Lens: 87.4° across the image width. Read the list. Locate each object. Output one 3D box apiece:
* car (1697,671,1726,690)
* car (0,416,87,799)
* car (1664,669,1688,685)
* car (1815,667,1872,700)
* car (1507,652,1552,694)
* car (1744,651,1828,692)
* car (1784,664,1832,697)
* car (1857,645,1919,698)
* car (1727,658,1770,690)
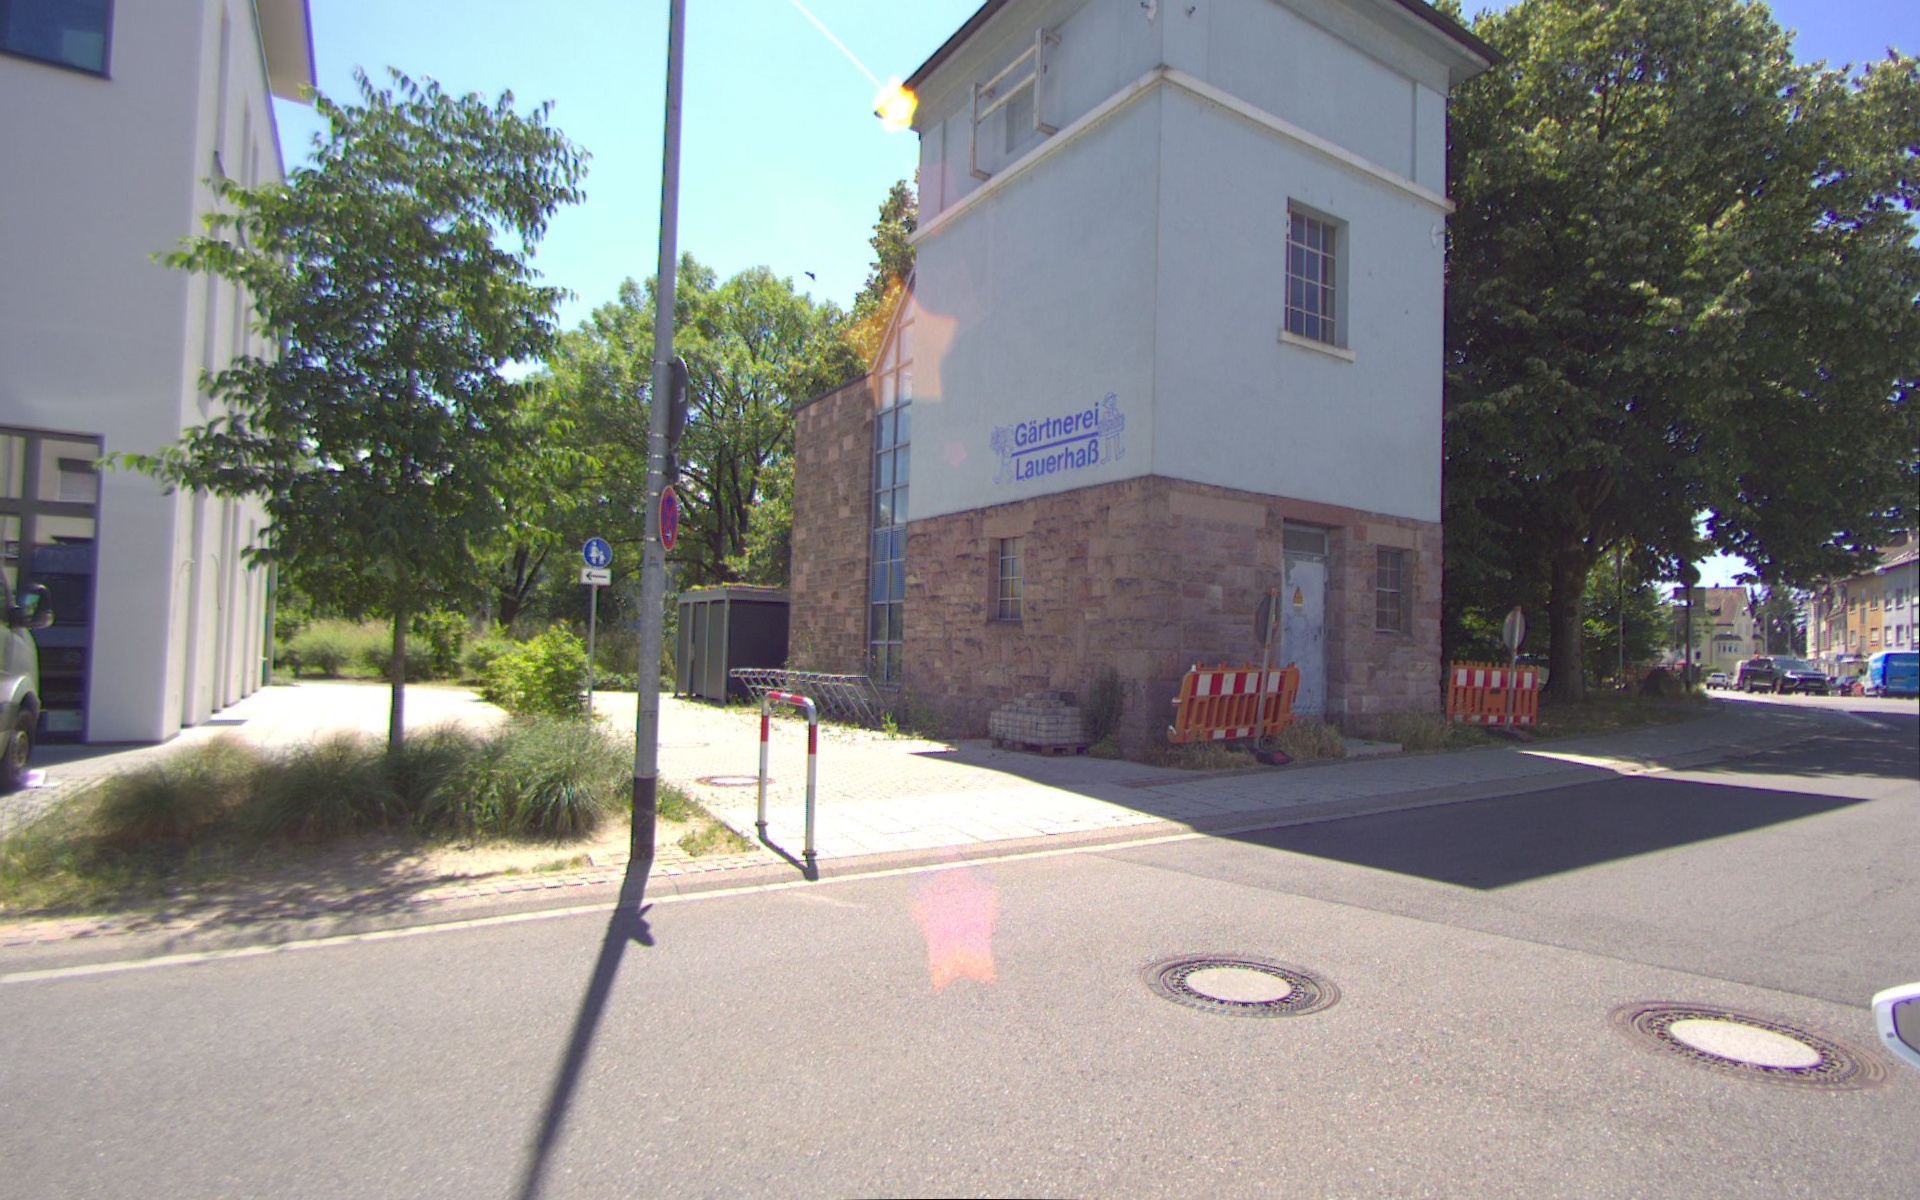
[{"bbox_3d":[87.528,9.373,117.009,1.963,2.040,3.996,1,-2,27],"label":"car"},{"bbox_3d":[-7.489,0.034,5.946,2.265,2.768,5.740,3,-1,-30],"label":"car"},{"bbox_3d":[80.316,8.617,112.760,1.966,1.681,3.990,3,-2,33],"label":"car"},{"bbox_3d":[53.944,5.072,61.410,1.966,1.769,4.318,1,-2,33],"label":"car"},{"bbox_3d":[30.340,3.854,53.471,1.965,2.040,3.992,0,-2,31],"label":"car"},{"bbox_3d":[37.887,3.264,46.197,1.713,1.795,4.338,-1,-3,22],"label":"car"},{"bbox_3d":[58.300,5.513,69.099,1.966,2.040,3.990,1,-2,33],"label":"car"},{"bbox_3d":[48.228,3.700,51.916,2.104,2.574,4.637,0,-3,34],"label":"car"},{"bbox_3d":[63.363,5.915,80.778,2.213,2.374,4.840,1,-2,33],"label":"car"}]
